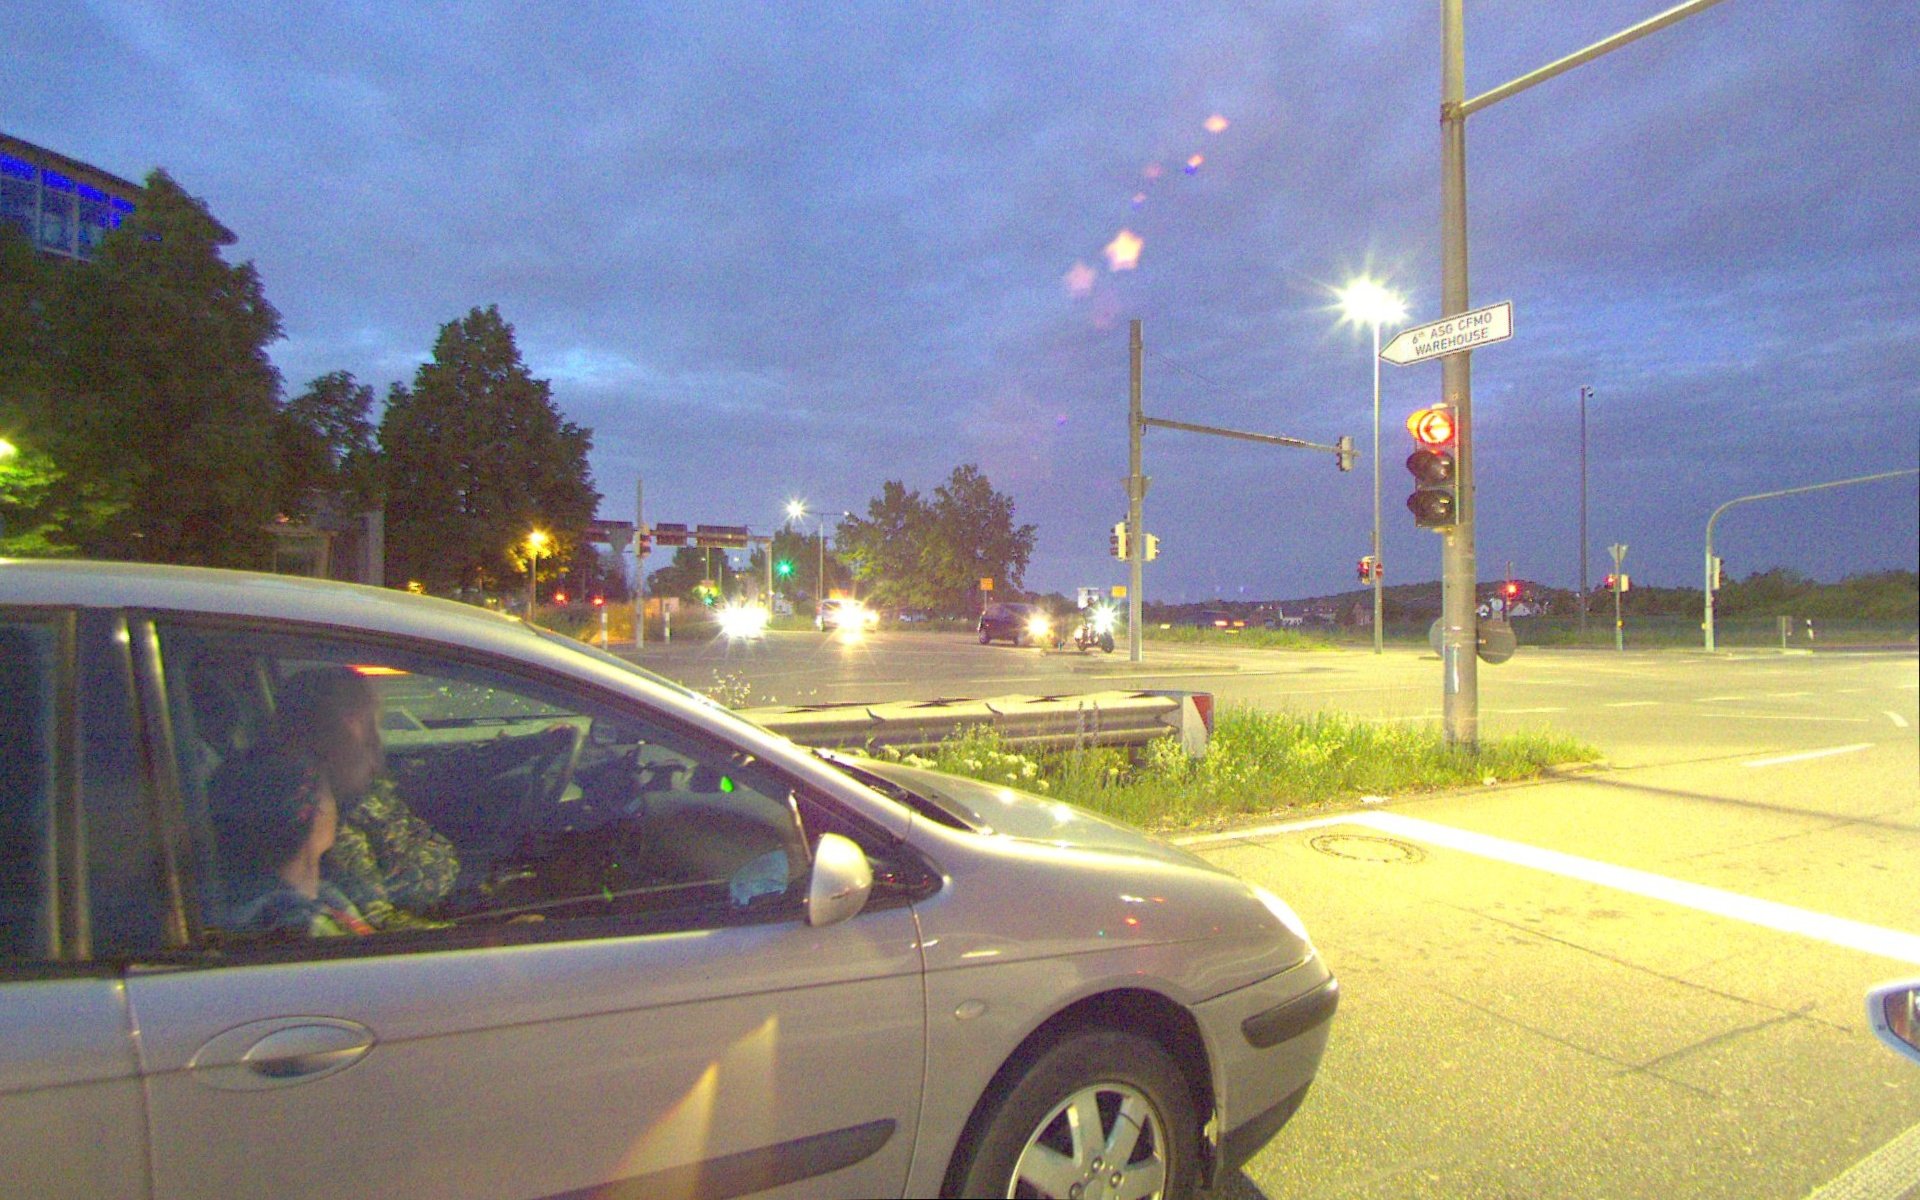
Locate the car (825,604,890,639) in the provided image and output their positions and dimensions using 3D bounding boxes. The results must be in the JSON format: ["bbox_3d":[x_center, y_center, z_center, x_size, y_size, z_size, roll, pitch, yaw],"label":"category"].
[{"bbox_3d":[-5.708,1.158,55.363,1.827,1.838,4.737,1,-1,-29],"label":"car"}]

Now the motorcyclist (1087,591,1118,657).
[{"bbox_3d":[4.454,0.740,31.330,0.628,2.040,0.763,1,0,-25],"label":"motorcyclist"}]

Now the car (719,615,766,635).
[{"bbox_3d":[-15.688,1.780,72.178,1.856,1.416,4.798,2,-1,-31],"label":"car"}]

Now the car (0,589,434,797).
[{"bbox_3d":[-6.576,0.674,8.127,4.057,1.462,1.751,1,-1,-28],"label":"car"}]

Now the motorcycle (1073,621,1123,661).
[{"bbox_3d":[4.277,1.255,31.148,0.664,1.179,1.797,1,0,-25],"label":"motorcycle"}]

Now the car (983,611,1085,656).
[{"bbox_3d":[2.504,1.125,34.916,1.754,1.467,3.751,1,-1,-30],"label":"car"}]

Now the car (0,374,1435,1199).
[{"bbox_3d":[-1.169,0.582,2.045,4.358,1.675,1.658,1,0,-30],"label":"car"}]
